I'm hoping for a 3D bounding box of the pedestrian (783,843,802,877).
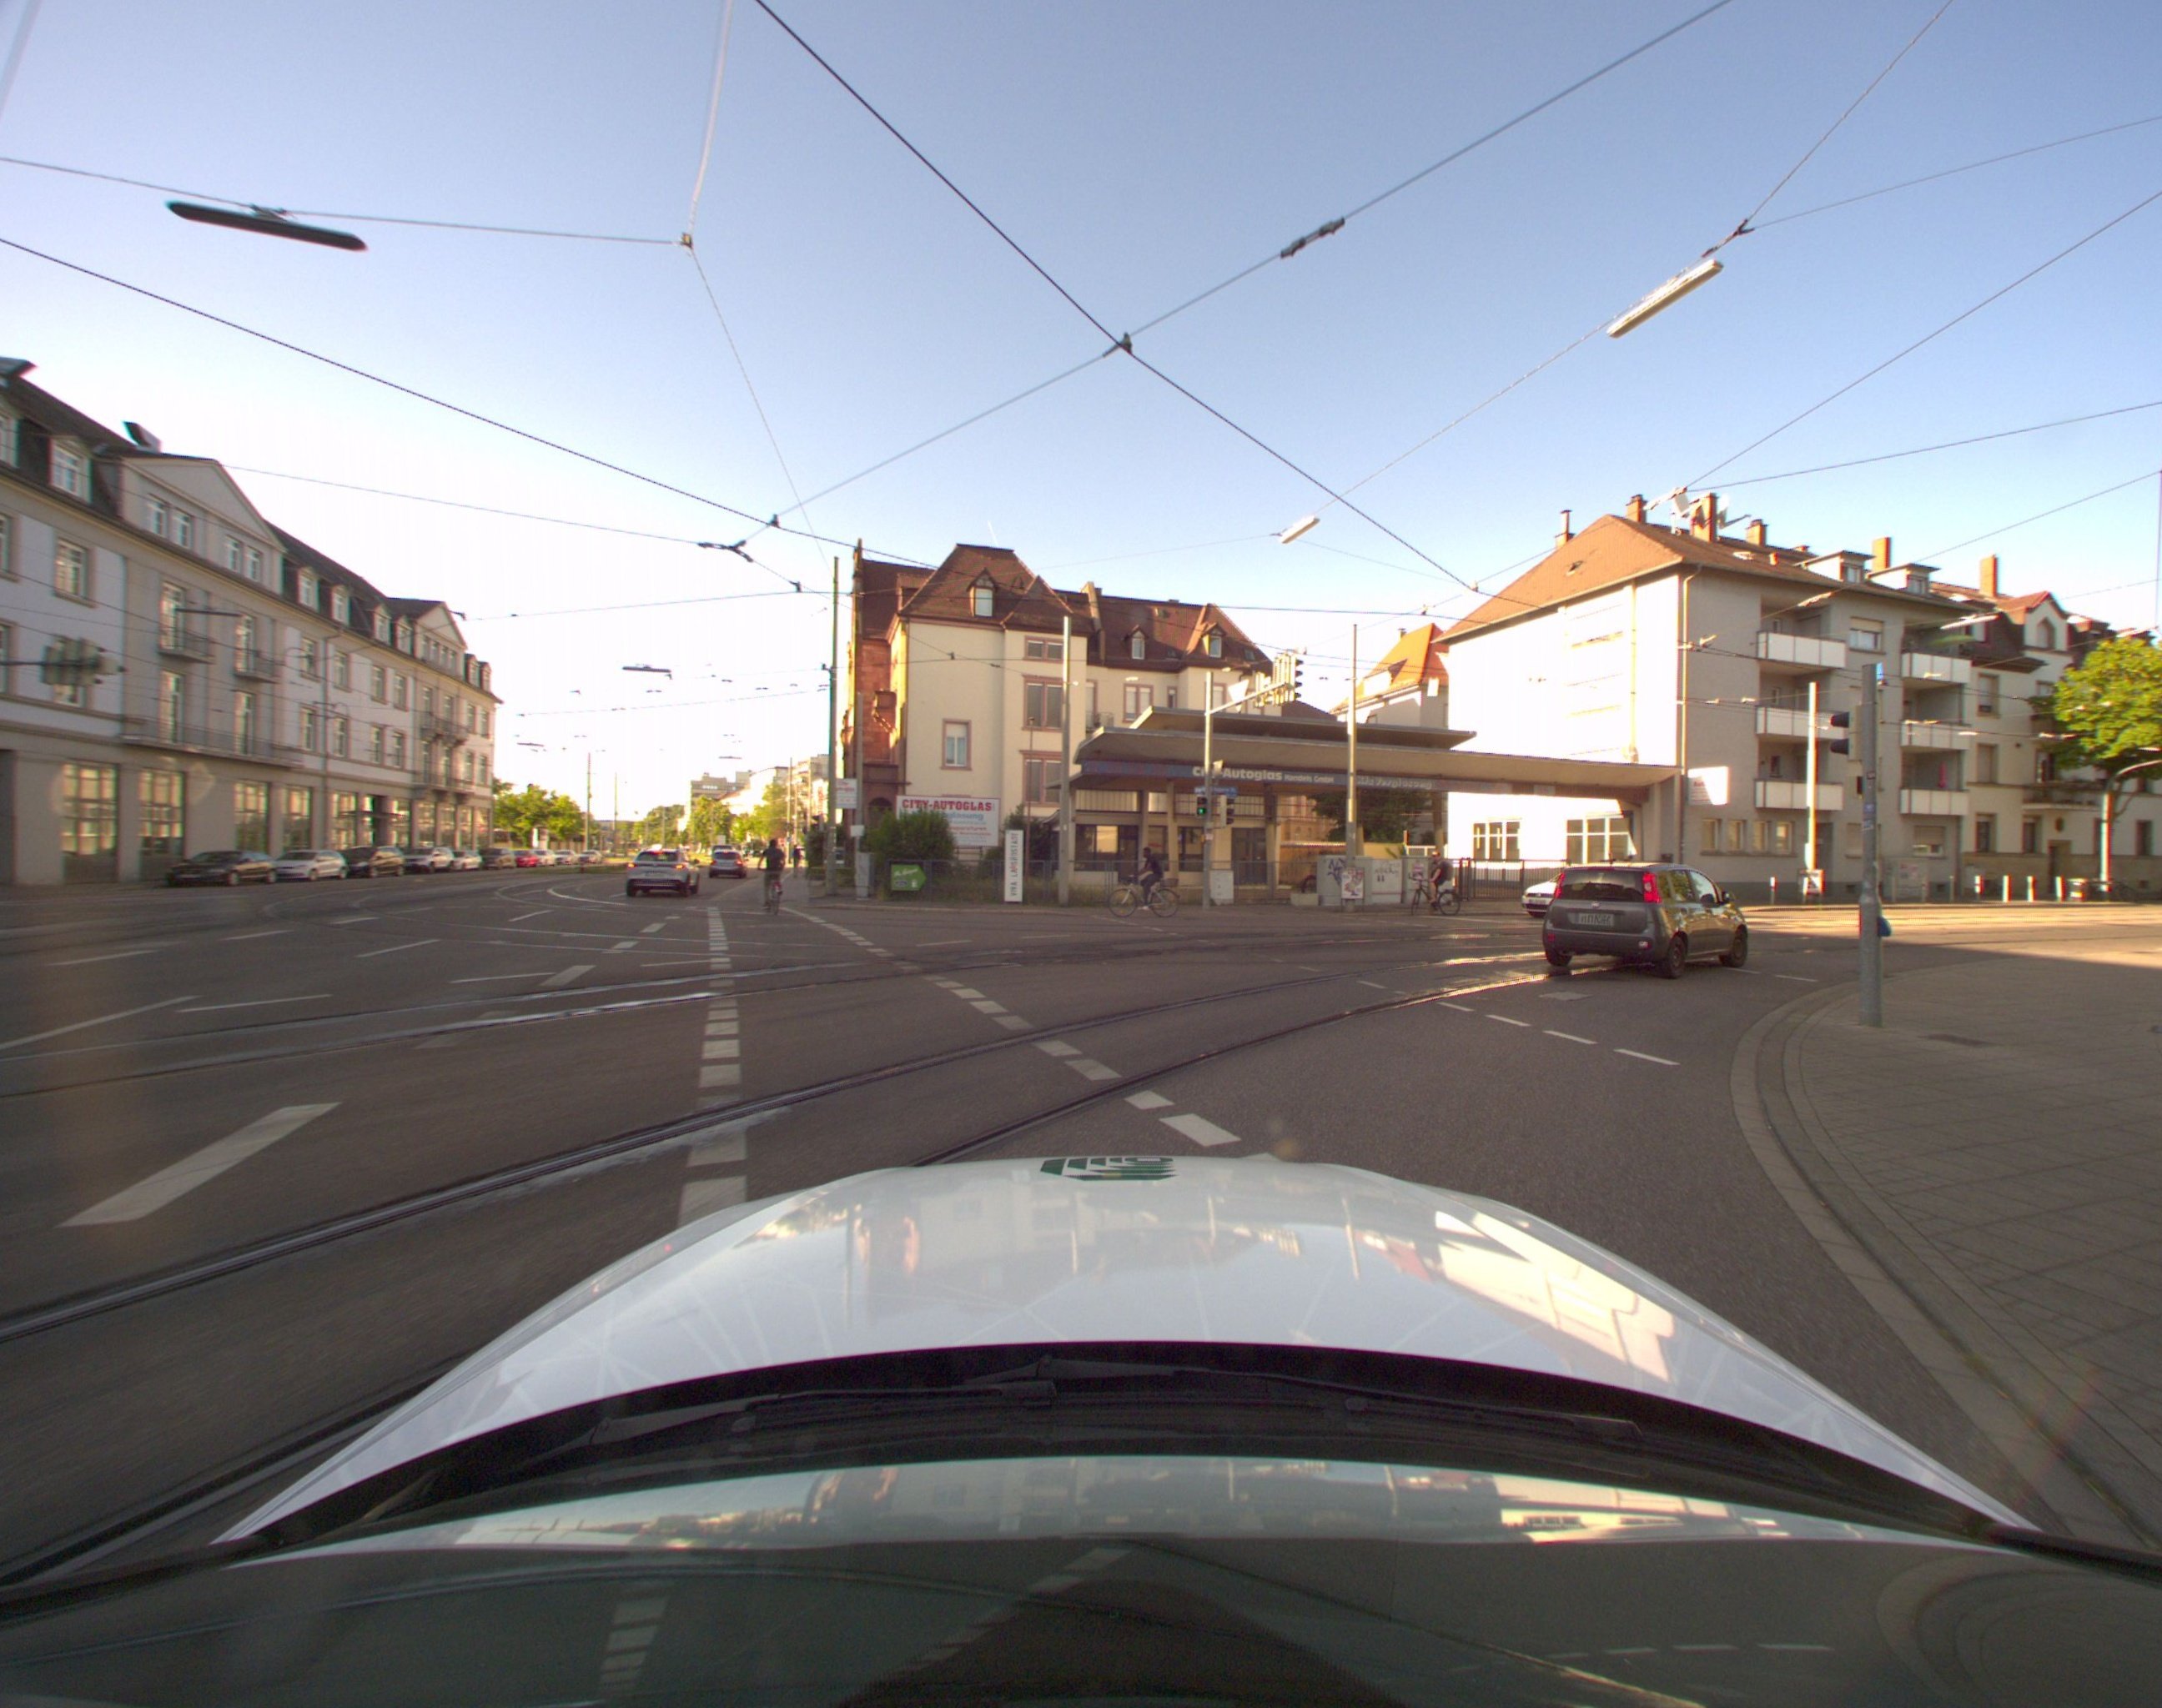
[{"bbox_3d":[-15.732,0.311,44.429,0.878,1.824,1.177,1,0,-17],"label":"pedestrian"}]

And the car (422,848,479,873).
[{"bbox_3d":[-41.160,0.419,53.264,1.724,1.552,3.975,0,0,-18],"label":"car"}]

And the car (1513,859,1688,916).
[{"bbox_3d":[14.170,0.889,22.251,4.187,1.458,1.786,0,-1,-18],"label":"car"}]

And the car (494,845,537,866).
[{"bbox_3d":[-44.235,0.106,63.803,1.724,1.552,3.975,0,0,-18],"label":"car"}]

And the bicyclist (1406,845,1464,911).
[{"bbox_3d":[9.953,0.661,22.900,1.254,1.787,0.904,0,0,-23],"label":"bicyclist"}]

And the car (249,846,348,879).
[{"bbox_3d":[-35.788,0.357,37.389,1.724,1.452,3.975,0,0,-18],"label":"car"}]

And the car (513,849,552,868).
[{"bbox_3d":[-45.890,0.380,68.219,1.724,1.552,3.975,0,0,-18],"label":"car"}]

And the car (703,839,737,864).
[{"bbox_3d":[-30.859,-0.196,69.774,2.178,2.009,4.778,0,0,-19],"label":"car"}]

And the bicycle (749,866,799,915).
[{"bbox_3d":[-7.365,0.846,19.482,0.776,1.086,1.852,1,0,-31],"label":"bicycle"}]

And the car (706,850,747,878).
[{"bbox_3d":[-20.622,0.543,47.517,1.820,1.582,3.974,1,0,-19],"label":"car"}]

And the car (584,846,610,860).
[{"bbox_3d":[-54.447,-0.120,91.694,1.724,1.552,3.975,0,0,-18],"label":"car"}]

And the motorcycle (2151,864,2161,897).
[{"bbox_3d":[50.272,1.203,36.819,3.101,1.481,1.453,1,0,-19],"label":"motorcycle"}]

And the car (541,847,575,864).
[{"bbox_3d":[-48.711,0.164,75.937,1.724,1.552,3.975,1,0,-18],"label":"car"}]

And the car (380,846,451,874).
[{"bbox_3d":[-39.493,0.328,48.437,1.840,1.552,4.248,0,0,-18],"label":"car"}]

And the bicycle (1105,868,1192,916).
[{"bbox_3d":[1.658,0.933,20.326,2.053,1.125,0.895,1,0,-3],"label":"bicycle"}]

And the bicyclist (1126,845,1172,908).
[{"bbox_3d":[1.683,0.557,20.328,1.045,1.526,0.878,0,0,-4],"label":"bicyclist"}]

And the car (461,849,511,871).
[{"bbox_3d":[-42.447,0.403,58.155,1.724,1.552,3.975,0,0,-18],"label":"car"}]

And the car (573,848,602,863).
[{"bbox_3d":[-52.197,0.188,86.150,1.724,1.552,3.975,0,0,-18],"label":"car"}]

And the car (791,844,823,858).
[{"bbox_3d":[-40.513,-0.474,120.338,4.282,2.014,1.982,1,0,-28],"label":"car"}]

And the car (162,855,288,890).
[{"bbox_3d":[-33.709,0.688,32.236,1.724,1.232,3.975,0,0,-18],"label":"car"}]

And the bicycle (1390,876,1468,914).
[{"bbox_3d":[9.728,1.123,22.783,2.047,1.017,0.723,0,0,-18],"label":"bicycle"}]

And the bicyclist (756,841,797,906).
[{"bbox_3d":[-7.321,0.456,19.560,0.837,1.525,0.986,1,0,-23],"label":"bicyclist"}]

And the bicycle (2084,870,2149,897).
[{"bbox_3d":[43.852,1.228,34.511,0.446,1.033,1.692,1,1,-38],"label":"bicycle"}]

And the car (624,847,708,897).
[{"bbox_3d":[-13.840,0.551,27.408,1.954,1.528,4.063,1,0,-19],"label":"car"}]

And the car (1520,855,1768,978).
[{"bbox_3d":[8.303,0.799,11.906,4.017,1.500,1.718,1,0,-35],"label":"car"}]

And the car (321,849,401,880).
[{"bbox_3d":[-37.135,0.517,42.130,1.724,1.552,3.832,0,0,-18],"label":"car"}]

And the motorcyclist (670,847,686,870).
[{"bbox_3d":[-25.347,0.276,51.260,0.780,1.423,0.885,1,0,-21],"label":"motorcyclist"}]
